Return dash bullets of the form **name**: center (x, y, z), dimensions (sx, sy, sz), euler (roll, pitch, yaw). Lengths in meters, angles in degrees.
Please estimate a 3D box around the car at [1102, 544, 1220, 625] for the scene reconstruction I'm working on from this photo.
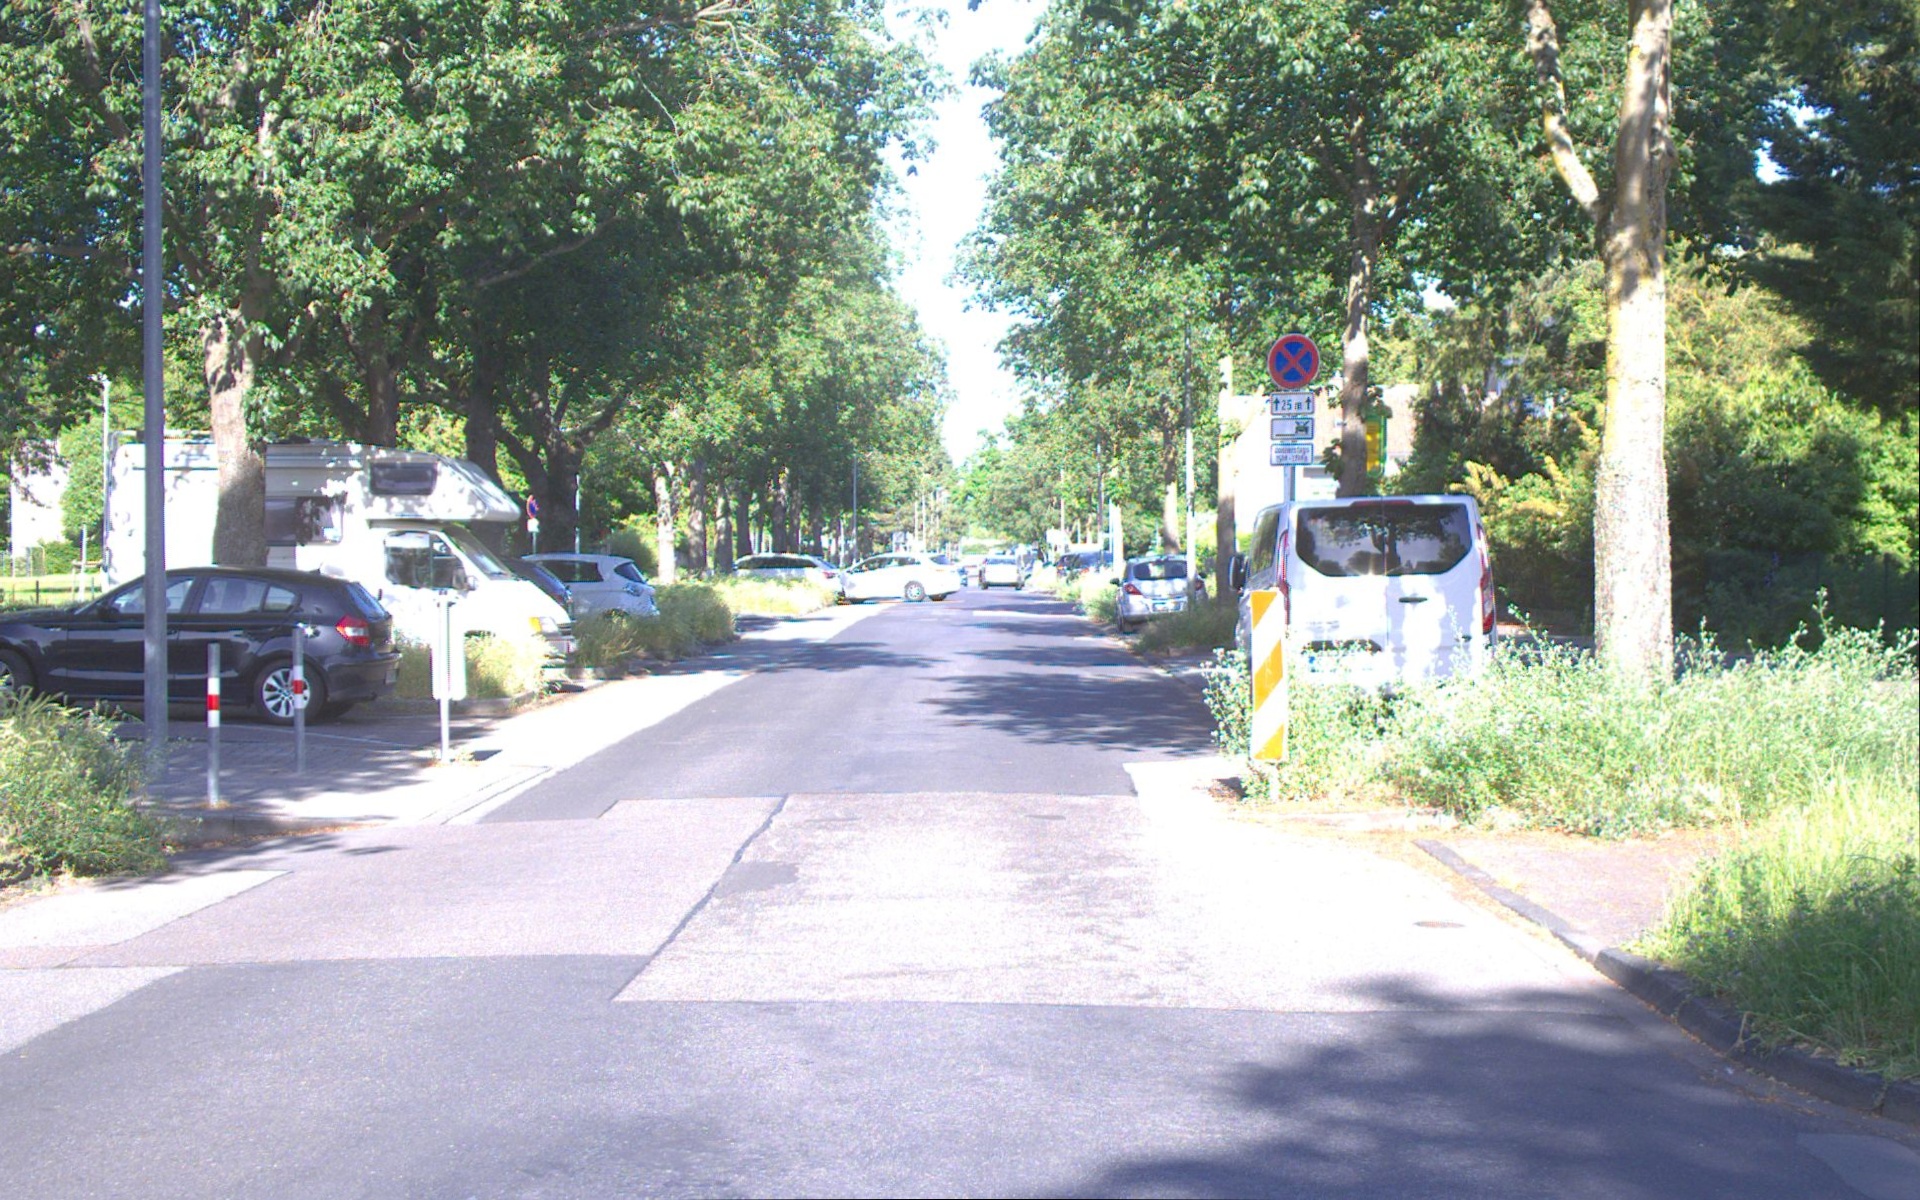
- **car**: center (3.978, -0.296, 67.569), dimensions (1.994, 1.505, 3.999), euler (-1, 0, 8)

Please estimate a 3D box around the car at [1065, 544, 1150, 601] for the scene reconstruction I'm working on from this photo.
- **car**: center (4.563, -0.863, 107.221), dimensions (1.993, 1.616, 4.382), euler (3, 0, -5)

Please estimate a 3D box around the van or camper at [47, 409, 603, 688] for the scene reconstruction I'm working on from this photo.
- **van or camper**: center (-7.147, -0.577, 39.055), dimensions (5.776, 2.795, 2.000), euler (3, 0, 3)

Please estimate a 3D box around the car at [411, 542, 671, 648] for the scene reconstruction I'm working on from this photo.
- **car**: center (-6.763, -0.099, 55.790), dimensions (3.987, 1.655, 1.967), euler (0, 1, 0)

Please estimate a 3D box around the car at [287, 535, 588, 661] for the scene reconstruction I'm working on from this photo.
- **car**: center (-7.521, -0.036, 49.780), dimensions (3.987, 1.583, 2.000), euler (3, 0, 0)

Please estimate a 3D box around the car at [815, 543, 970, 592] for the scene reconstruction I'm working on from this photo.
- **car**: center (-2.037, -0.982, 103.638), dimensions (4.216, 1.450, 1.997), euler (1, 1, 24)

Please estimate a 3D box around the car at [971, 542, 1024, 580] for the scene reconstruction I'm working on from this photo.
- **car**: center (1.616, -1.691, 149.715), dimensions (1.993, 1.503, 3.659), euler (3, 0, -3)

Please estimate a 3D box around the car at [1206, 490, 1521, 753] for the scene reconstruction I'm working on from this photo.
- **car**: center (3.426, 0.155, 30.186), dimensions (1.993, 2.007, 5.196), euler (3, 0, -1)

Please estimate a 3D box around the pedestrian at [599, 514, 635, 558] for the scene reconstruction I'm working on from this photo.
- **pedestrian**: center (-14.575, -2.720, 145.940), dimensions (1.224, 1.821, 1.551), euler (2, 0, -16)

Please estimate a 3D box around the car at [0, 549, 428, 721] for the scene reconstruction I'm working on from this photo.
- **car**: center (-7.167, 0.309, 32.242), dimensions (3.987, 1.445, 1.639), euler (2, 0, 4)

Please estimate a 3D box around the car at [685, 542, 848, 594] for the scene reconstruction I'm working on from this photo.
- **car**: center (-5.718, -0.942, 102.043), dimensions (4.671, 1.498, 2.000), euler (0, 1, 2)
